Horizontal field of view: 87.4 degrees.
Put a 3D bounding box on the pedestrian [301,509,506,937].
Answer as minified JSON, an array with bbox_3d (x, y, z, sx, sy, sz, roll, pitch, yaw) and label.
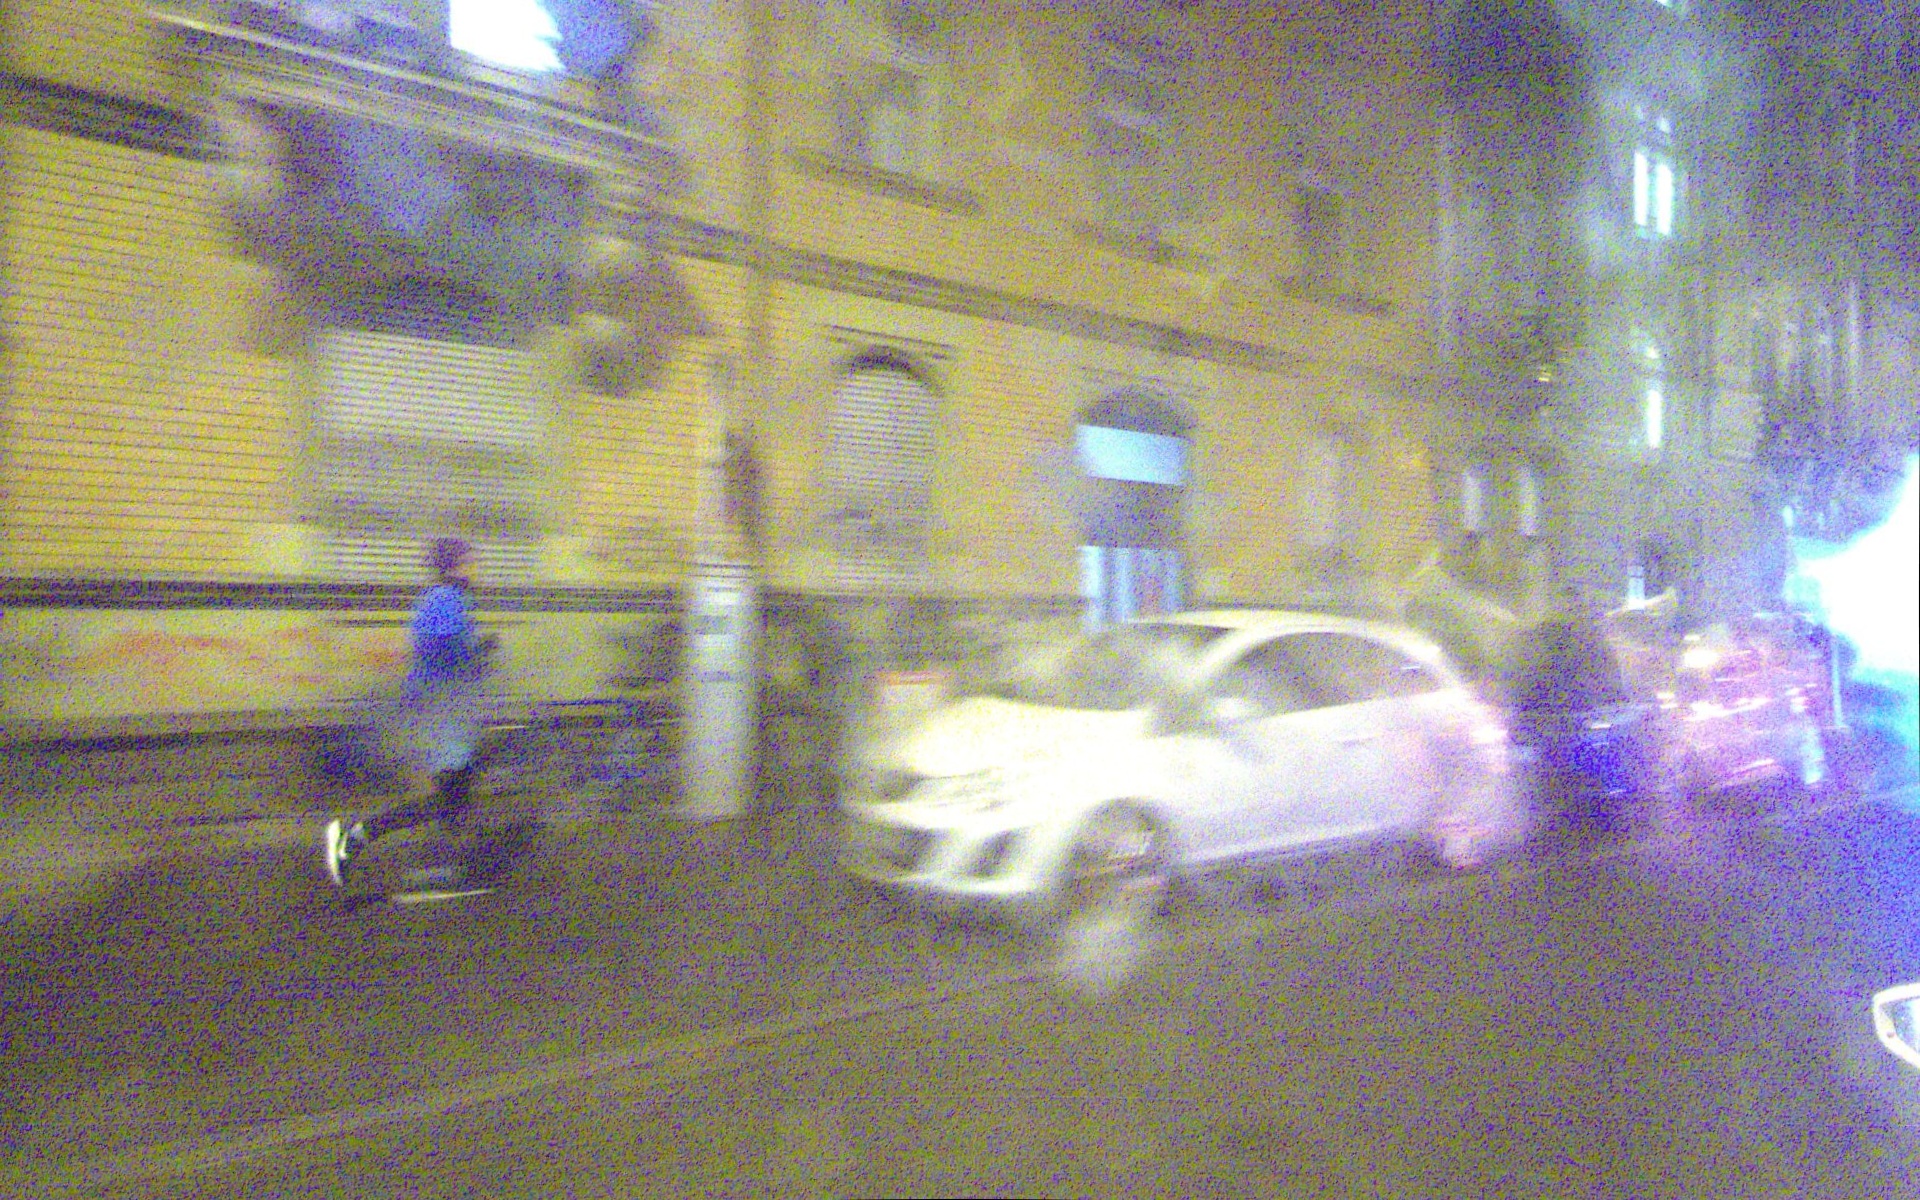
[{"bbox_3d":[-2.629,0.530,4.771,0.785,1.845,0.588,1,2,-30],"label":"pedestrian"}]

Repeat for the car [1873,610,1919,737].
[{"bbox_3d":[13.881,0.955,13.263,4.034,1.578,1.802,1,0,-34],"label":"car"}]

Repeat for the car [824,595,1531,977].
[{"bbox_3d":[1.289,0.763,5.571,3.747,1.502,1.580,1,0,-29],"label":"car"}]

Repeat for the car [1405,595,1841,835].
[{"bbox_3d":[5.657,0.787,8.428,4.034,1.578,1.645,1,0,-34],"label":"car"}]

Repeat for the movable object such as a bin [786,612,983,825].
[{"bbox_3d":[-0.589,0.819,7.551,1.143,1.417,1.043,1,1,-28],"label":"movable object such as a bin"}]

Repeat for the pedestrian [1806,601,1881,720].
[{"bbox_3d":[13.219,0.880,15.038,0.533,1.726,0.698,1,0,-30],"label":"pedestrian"}]
